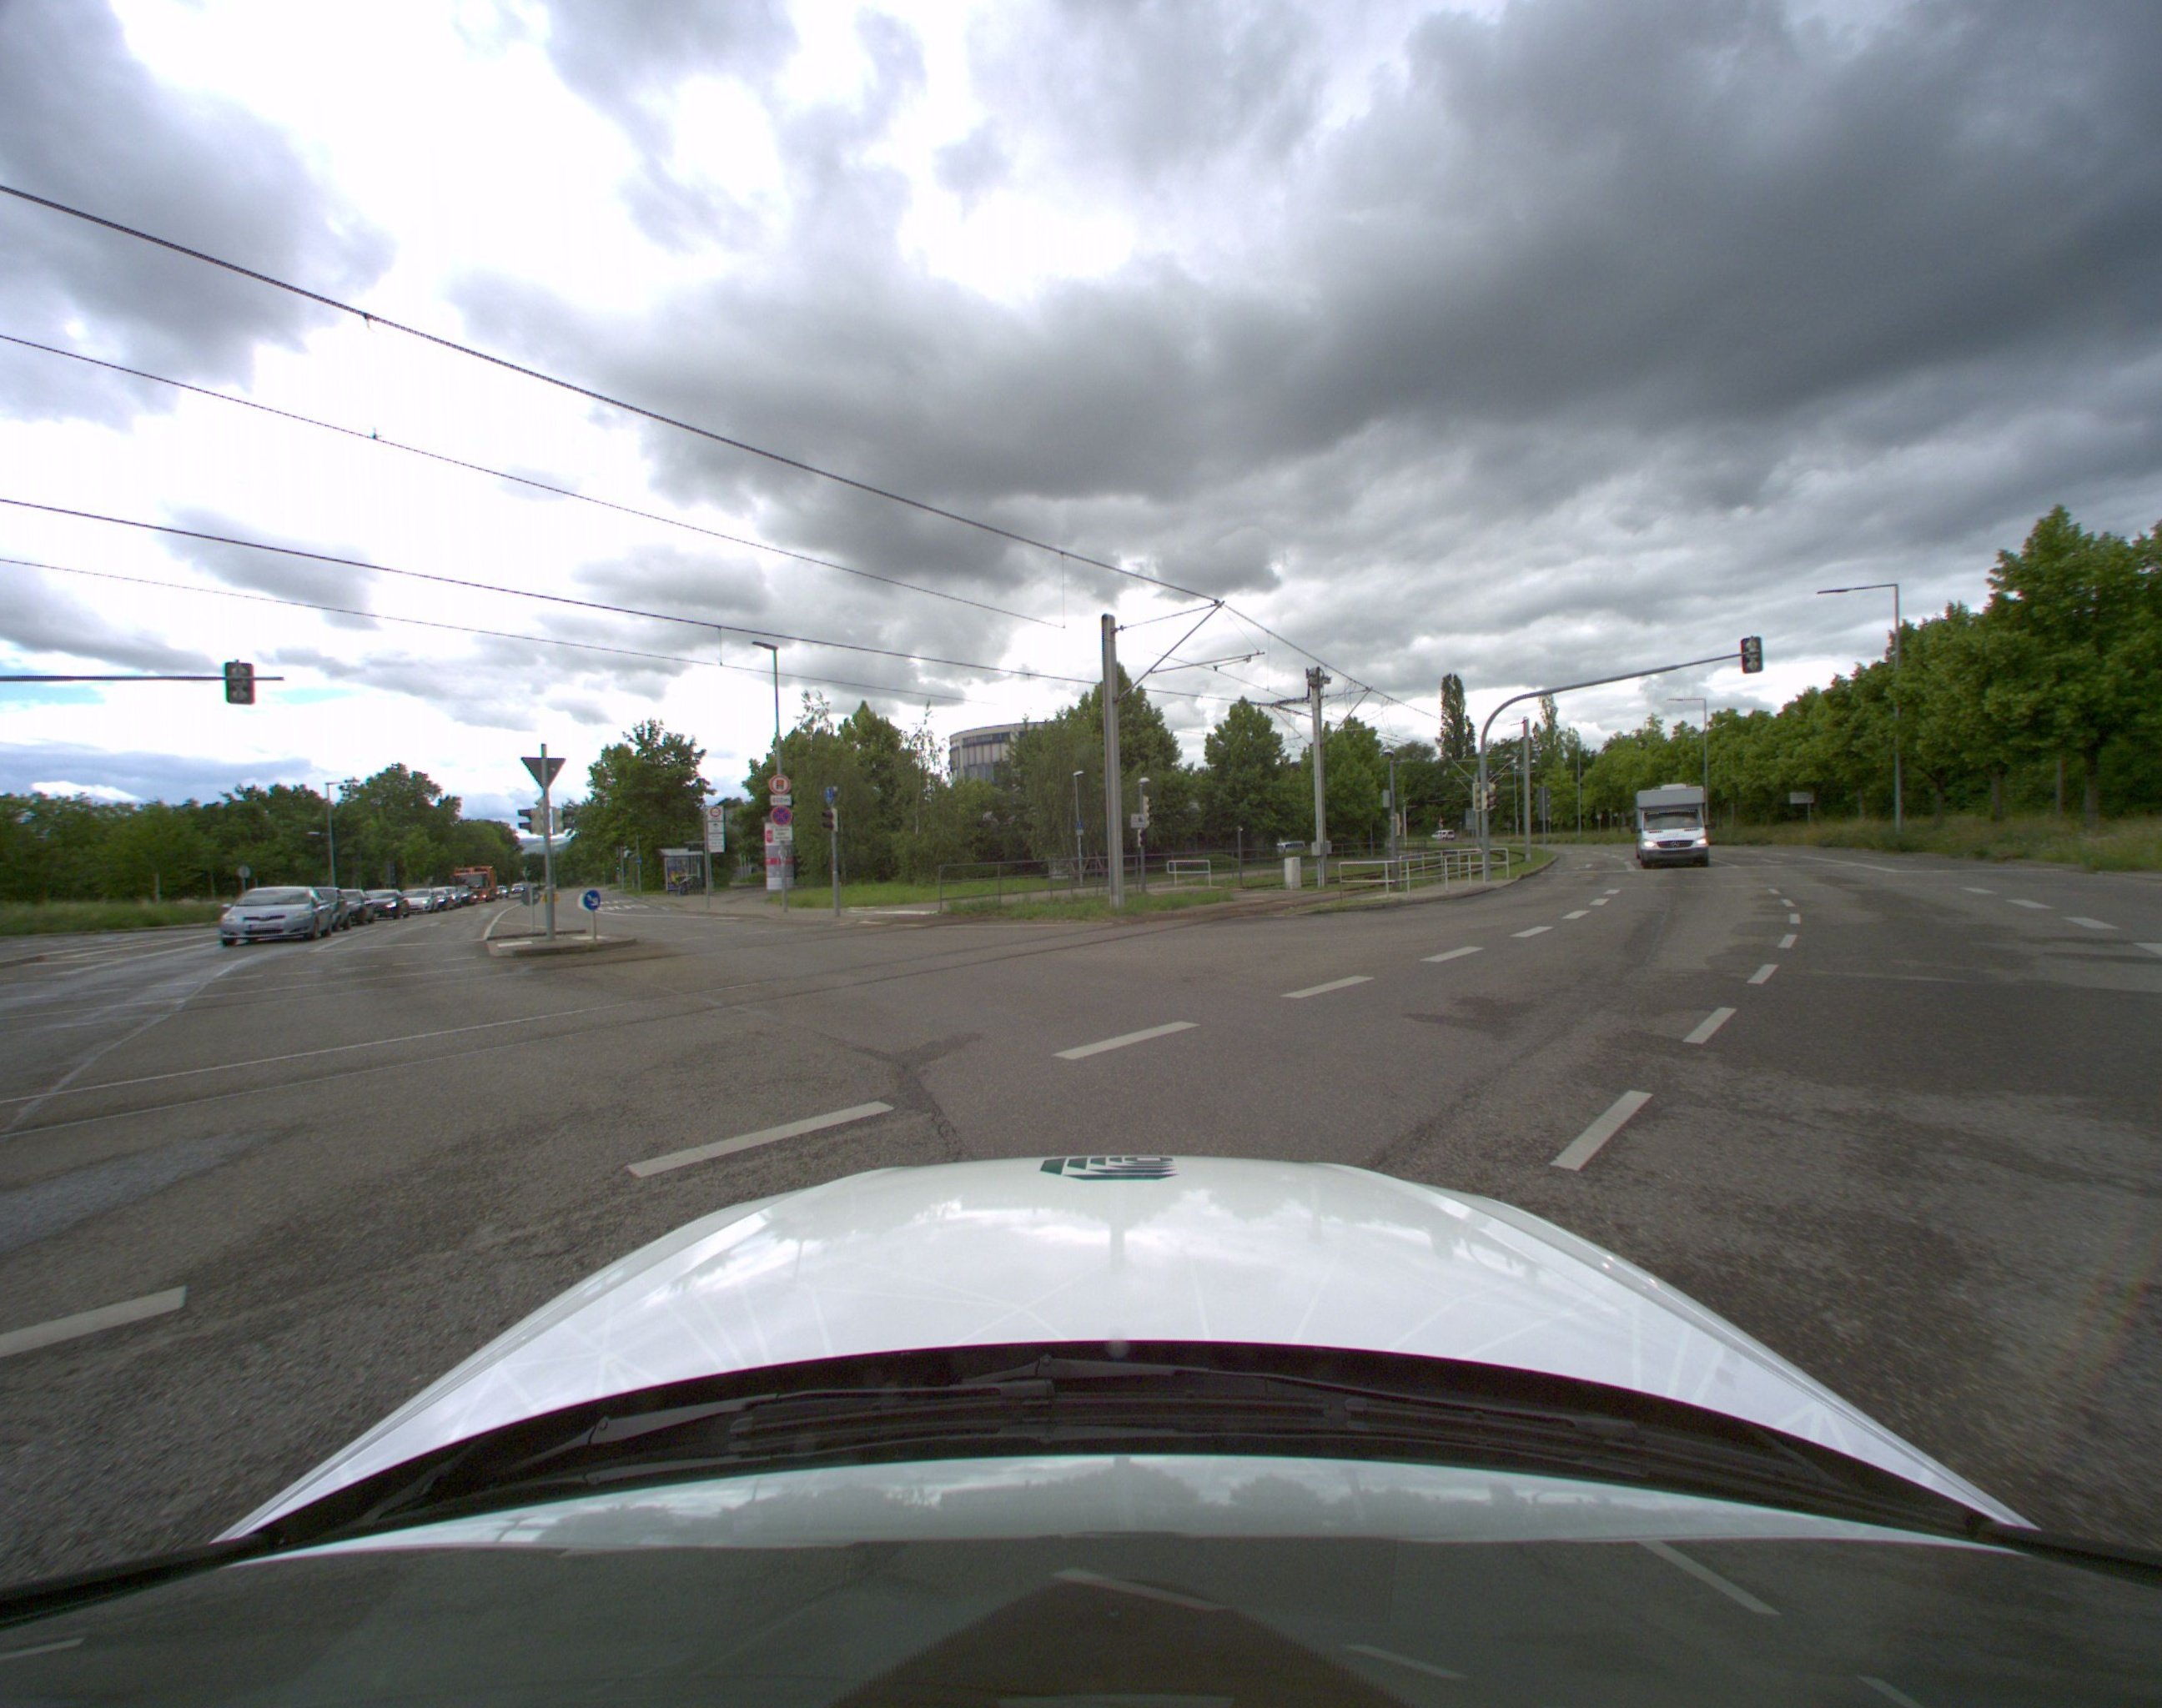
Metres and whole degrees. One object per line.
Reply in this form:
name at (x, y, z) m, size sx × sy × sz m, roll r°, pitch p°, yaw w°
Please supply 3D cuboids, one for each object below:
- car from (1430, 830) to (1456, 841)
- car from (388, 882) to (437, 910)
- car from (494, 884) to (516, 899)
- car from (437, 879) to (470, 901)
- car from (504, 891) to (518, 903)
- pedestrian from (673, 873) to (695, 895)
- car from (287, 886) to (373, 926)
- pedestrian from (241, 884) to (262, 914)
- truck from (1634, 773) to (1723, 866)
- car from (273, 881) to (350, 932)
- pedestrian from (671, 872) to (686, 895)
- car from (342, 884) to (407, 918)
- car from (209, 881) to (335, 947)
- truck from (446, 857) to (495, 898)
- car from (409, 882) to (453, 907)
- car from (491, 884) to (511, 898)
car at (63.411, -3.195, 142.783) m, size 2.001 × 1.728 × 3.700 m, roll -3°, pitch 0°, yaw -22°
car at (-38.325, 2.374, 46.766) m, size 1.651 × 1.390 × 3.723 m, roll -3°, pitch 0°, yaw -33°
car at (-68.628, 4.447, 97.042) m, size 1.860 × 1.520 × 4.764 m, roll -6°, pitch 1°, yaw -33°
car at (-49.288, 2.776, 64.033) m, size 1.651 × 1.585 × 4.018 m, roll -3°, pitch 0°, yaw -33°
car at (-99.741, 7.513, 142.524) m, size 1.860 × 1.803 × 4.601 m, roll -6°, pitch 1°, yaw -33°
pedestrian at (-23.192, 1.748, 47.588) m, size 0.764 × 1.252 × 0.779 m, roll -3°, pitch 0°, yaw 16°
car at (-29.846, 2.026, 32.486) m, size 1.813 × 1.332 × 4.333 m, roll -3°, pitch 0°, yaw -34°
pedestrian at (-51.958, 2.827, 51.028) m, size 0.726 × 1.835 × 0.670 m, roll -3°, pitch 0°, yaw -32°
truck at (22.512, -1.236, 30.934) m, size 2.084 × 3.010 × 6.314 m, roll -6°, pitch -2°, yaw 33°
car at (-26.141, 1.748, 27.746) m, size 1.439 × 1.526 × 2.745 m, roll -3°, pitch 0°, yaw -35°
pedestrian at (-24.027, 1.730, 48.607) m, size 0.733 × 1.316 × 0.583 m, roll -3°, pitch 0°, yaw -31°
car at (-32.817, 2.150, 37.934) m, size 1.651 × 1.332 × 4.018 m, roll -3°, pitch 0°, yaw -33°
car at (-22.319, 1.579, 22.636) m, size 1.841 × 1.535 × 4.172 m, roll -3°, pitch 0°, yaw -37°
truck at (-57.063, 2.167, 76.321) m, size 2.724 × 3.487 × 9.893 m, roll -3°, pitch 0°, yaw -32°
car at (-41.353, 2.514, 51.893) m, size 1.651 × 1.390 × 4.834 m, roll -3°, pitch 0°, yaw -33°
car at (-65.617, 4.180, 92.222) m, size 1.558 × 1.331 × 3.616 m, roll -6°, pitch 1°, yaw -33°
